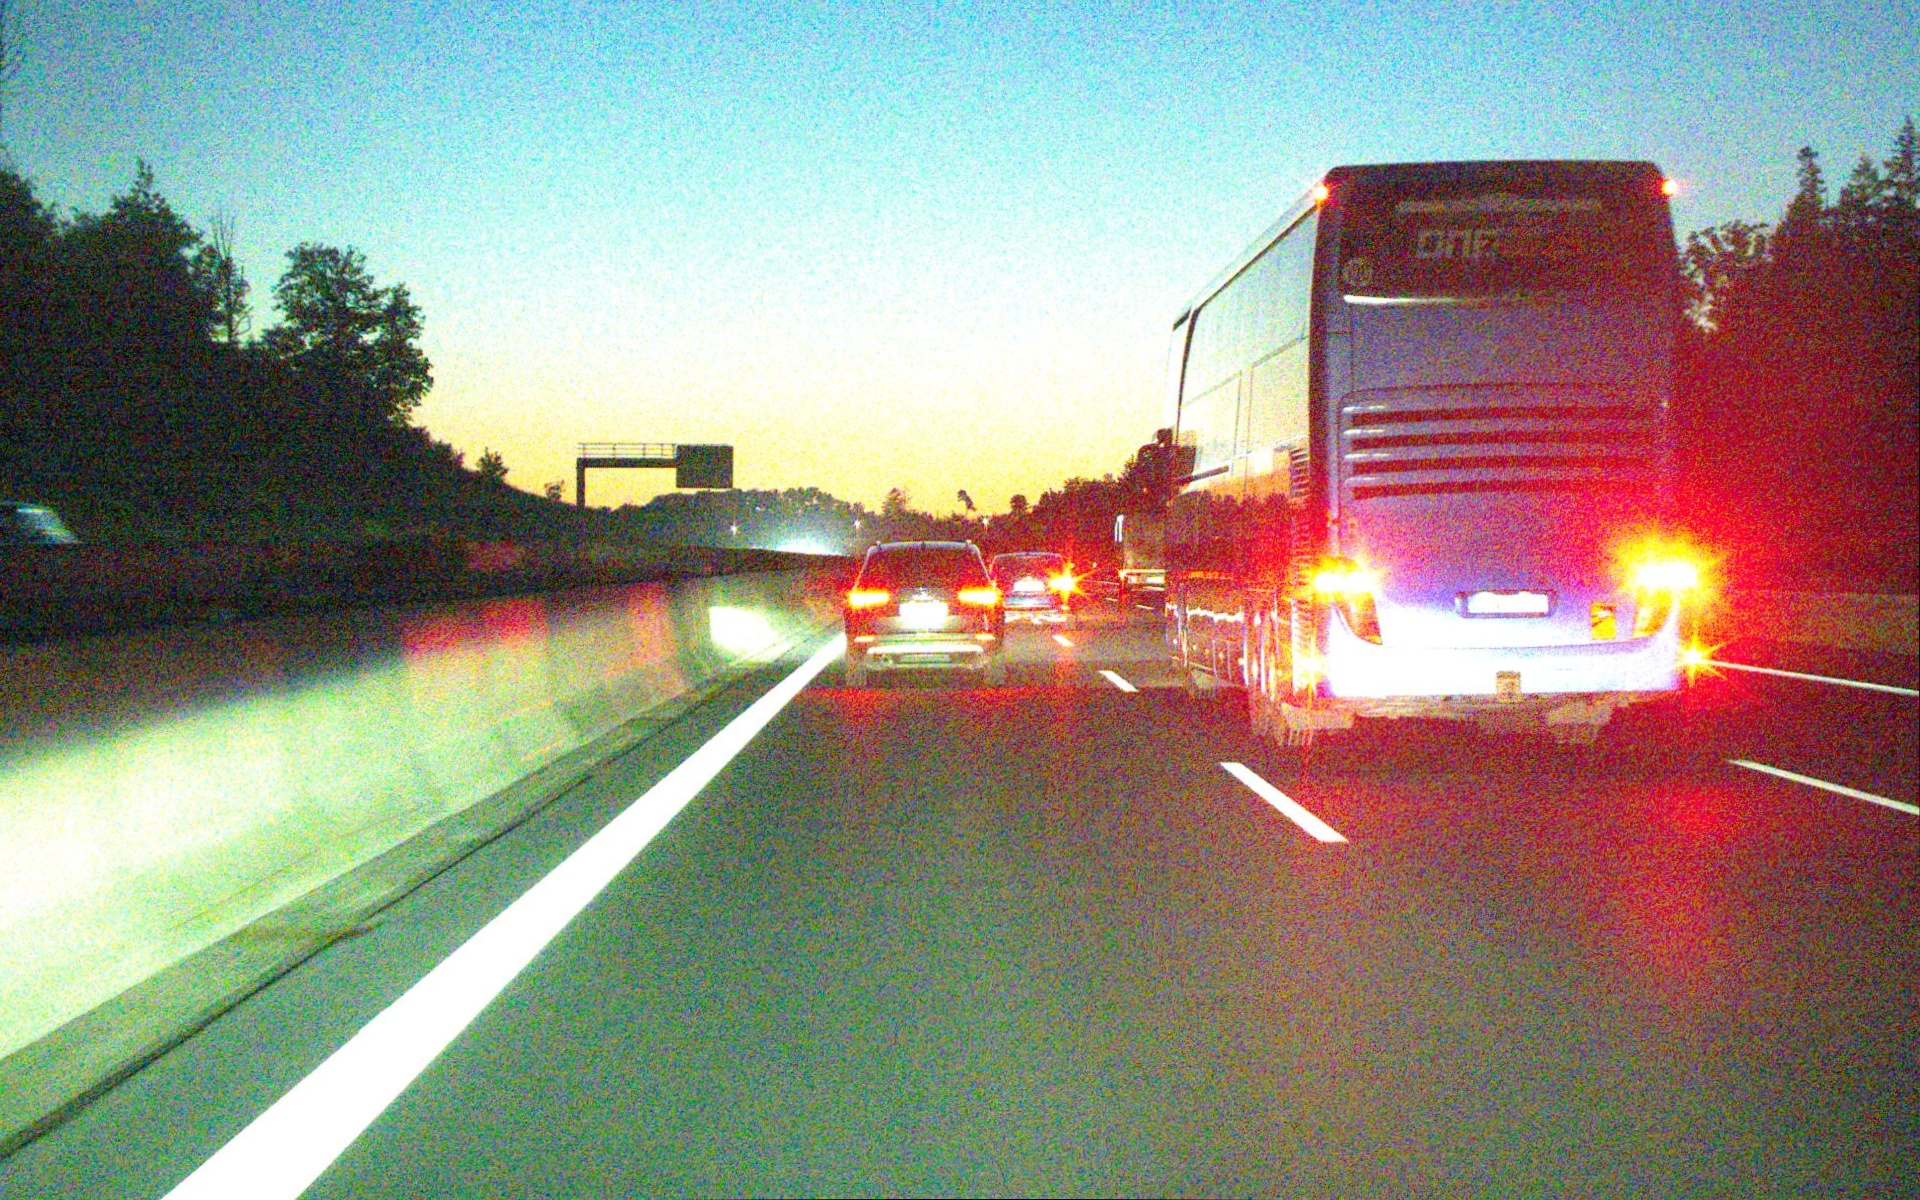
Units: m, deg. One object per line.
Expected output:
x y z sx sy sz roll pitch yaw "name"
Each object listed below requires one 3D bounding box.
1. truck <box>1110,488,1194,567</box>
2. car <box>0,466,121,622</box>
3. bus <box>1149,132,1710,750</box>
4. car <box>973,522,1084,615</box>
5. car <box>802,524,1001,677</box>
7.315 -2.732 131.636 2.602 2.865 7.486 1 1 -1 "truck"
-11.839 -0.750 42.183 1.992 1.770 4.749 3 2 -2 "car"
3.443 -1.082 29.599 2.652 3.980 14.702 0 0 -1 "bus"
1.277 -0.599 65.919 1.911 1.724 4.000 0 0 -2 "car"
-0.681 -0.001 38.811 2.105 1.612 4.204 1 0 -2 "car"
